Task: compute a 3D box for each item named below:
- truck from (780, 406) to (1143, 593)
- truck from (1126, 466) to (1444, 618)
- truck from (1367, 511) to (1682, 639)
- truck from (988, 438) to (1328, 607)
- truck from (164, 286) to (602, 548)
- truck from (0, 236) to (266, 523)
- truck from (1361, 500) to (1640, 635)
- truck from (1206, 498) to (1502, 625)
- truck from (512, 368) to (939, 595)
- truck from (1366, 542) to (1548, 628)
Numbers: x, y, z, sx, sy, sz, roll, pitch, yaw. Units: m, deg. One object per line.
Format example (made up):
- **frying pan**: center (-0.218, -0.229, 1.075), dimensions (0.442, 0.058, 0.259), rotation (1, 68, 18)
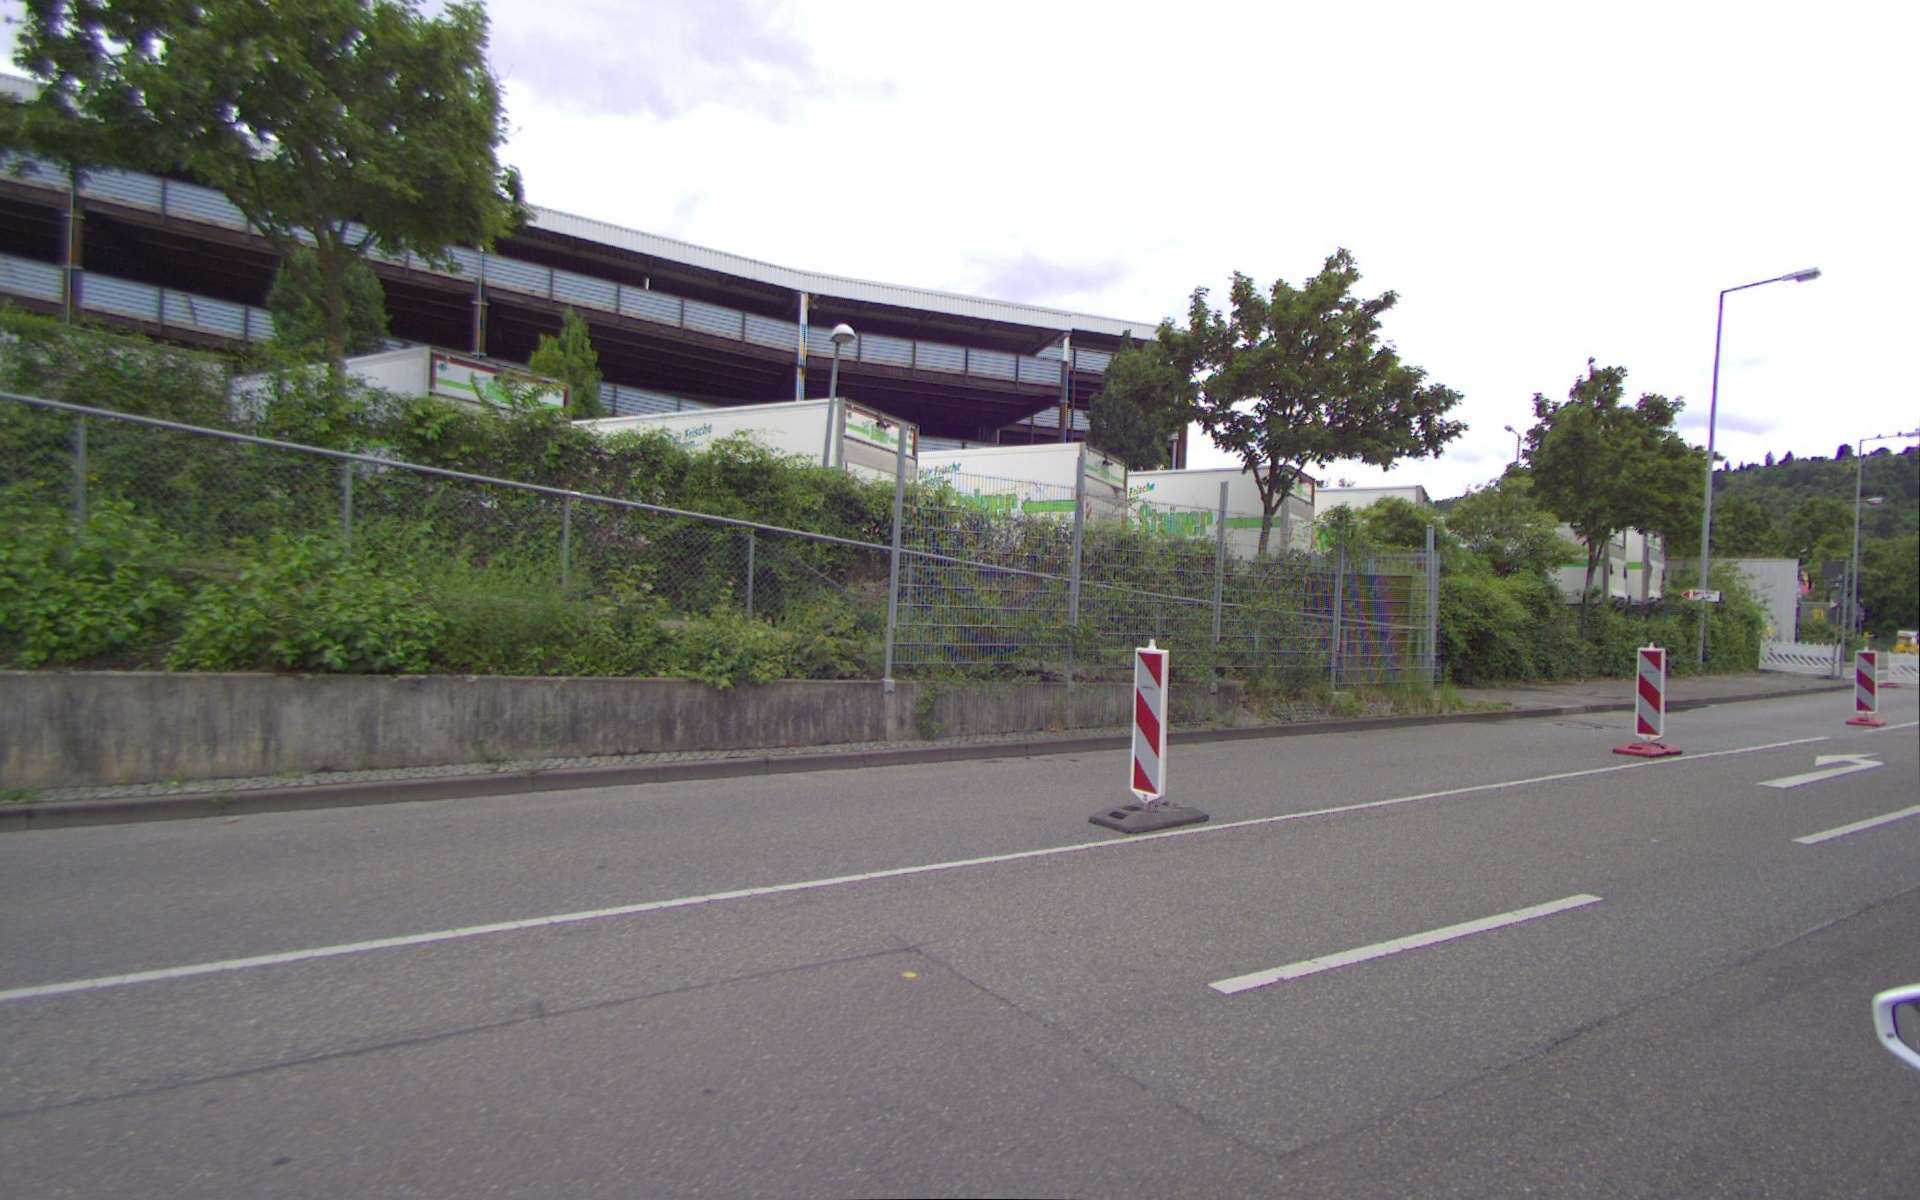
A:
- **truck**: center (-0.047, -2.216, 23.290), dimensions (7.723, 3.584, 3.048), rotation (3, -1, 29)
- **truck**: center (8.855, -1.578, 27.686), dimensions (7.727, 3.584, 3.047), rotation (3, -1, 31)
- **truck**: center (20.400, -0.930, 36.968), dimensions (3.032, 4.043, 9.527), rotation (4, -1, -43)
- **truck**: center (4.877, -1.866, 25.452), dimensions (7.733, 3.584, 3.045), rotation (3, -1, 34)
- **truck**: center (-10.436, -2.965, 17.991), dimensions (7.723, 3.584, 3.048), rotation (3, -1, 29)
- **truck**: center (-15.564, -3.311, 16.925), dimensions (7.723, 3.584, 3.048), rotation (3, -1, 29)
- **truck**: center (18.319, -1.100, 34.466), dimensions (7.760, 4.043, 3.034), rotation (3, -1, 45)
- **truck**: center (11.704, -1.173, 30.061), dimensions (7.727, 3.292, 3.047), rotation (3, -1, 31)
- **truck**: center (-4.740, -2.161, 19.780), dimensions (8.007, 3.584, 3.048), rotation (3, -1, 29)
- **truck**: center (15.720, -0.499, 31.968), dimensions (2.177, 2.437, 4.651), rotation (4, -1, -38)
